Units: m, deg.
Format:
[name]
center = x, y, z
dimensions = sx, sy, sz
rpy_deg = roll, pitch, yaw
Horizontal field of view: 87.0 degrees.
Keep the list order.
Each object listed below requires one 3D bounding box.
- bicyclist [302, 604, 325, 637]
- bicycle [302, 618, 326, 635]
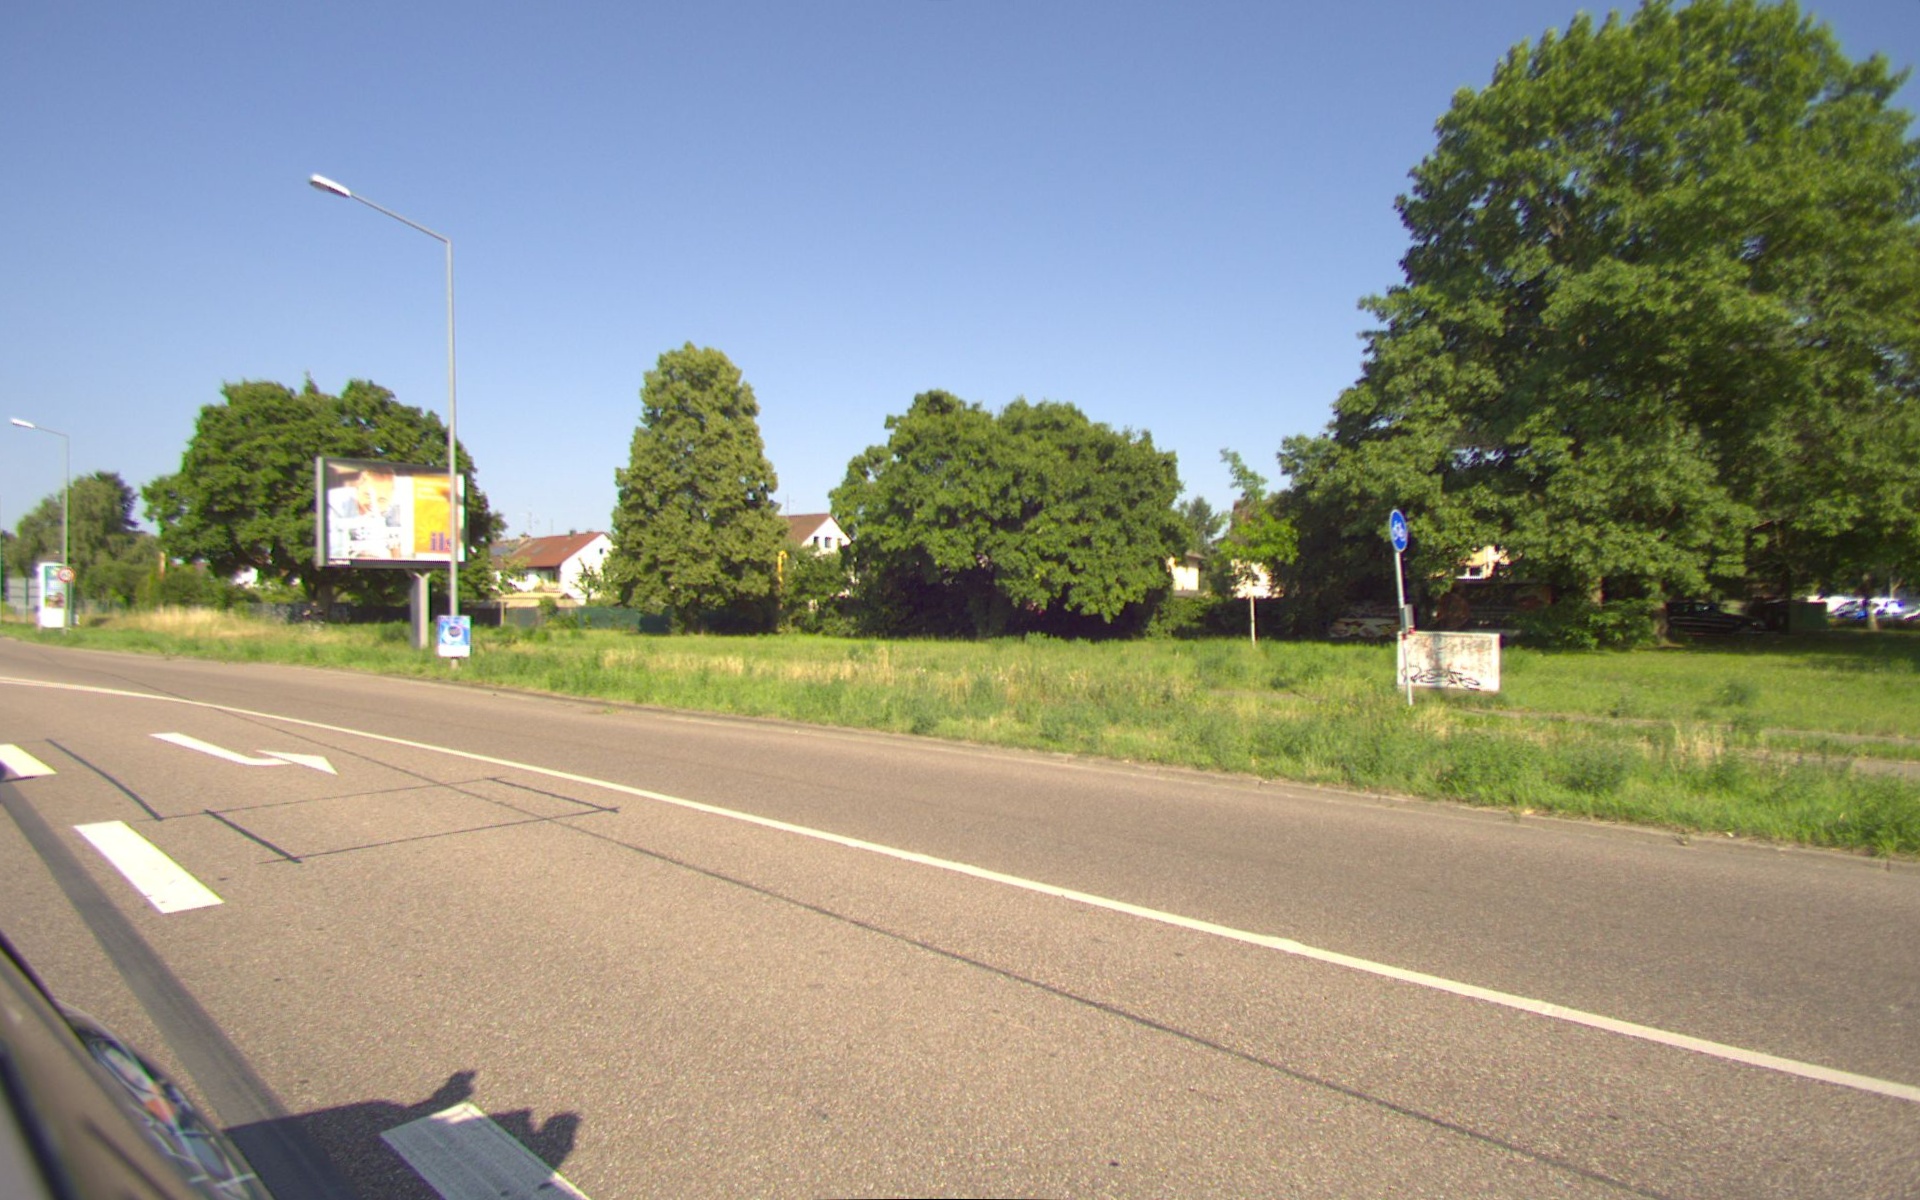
[bicyclist]
center = -28.541, 0.899, 44.686
dimensions = 1.071, 1.439, 0.630
rpy_deg = -1, -1, 43
[bicycle]
center = -28.582, 1.159, 44.762
dimensions = 1.833, 0.759, 0.449
rpy_deg = -1, -1, 42
